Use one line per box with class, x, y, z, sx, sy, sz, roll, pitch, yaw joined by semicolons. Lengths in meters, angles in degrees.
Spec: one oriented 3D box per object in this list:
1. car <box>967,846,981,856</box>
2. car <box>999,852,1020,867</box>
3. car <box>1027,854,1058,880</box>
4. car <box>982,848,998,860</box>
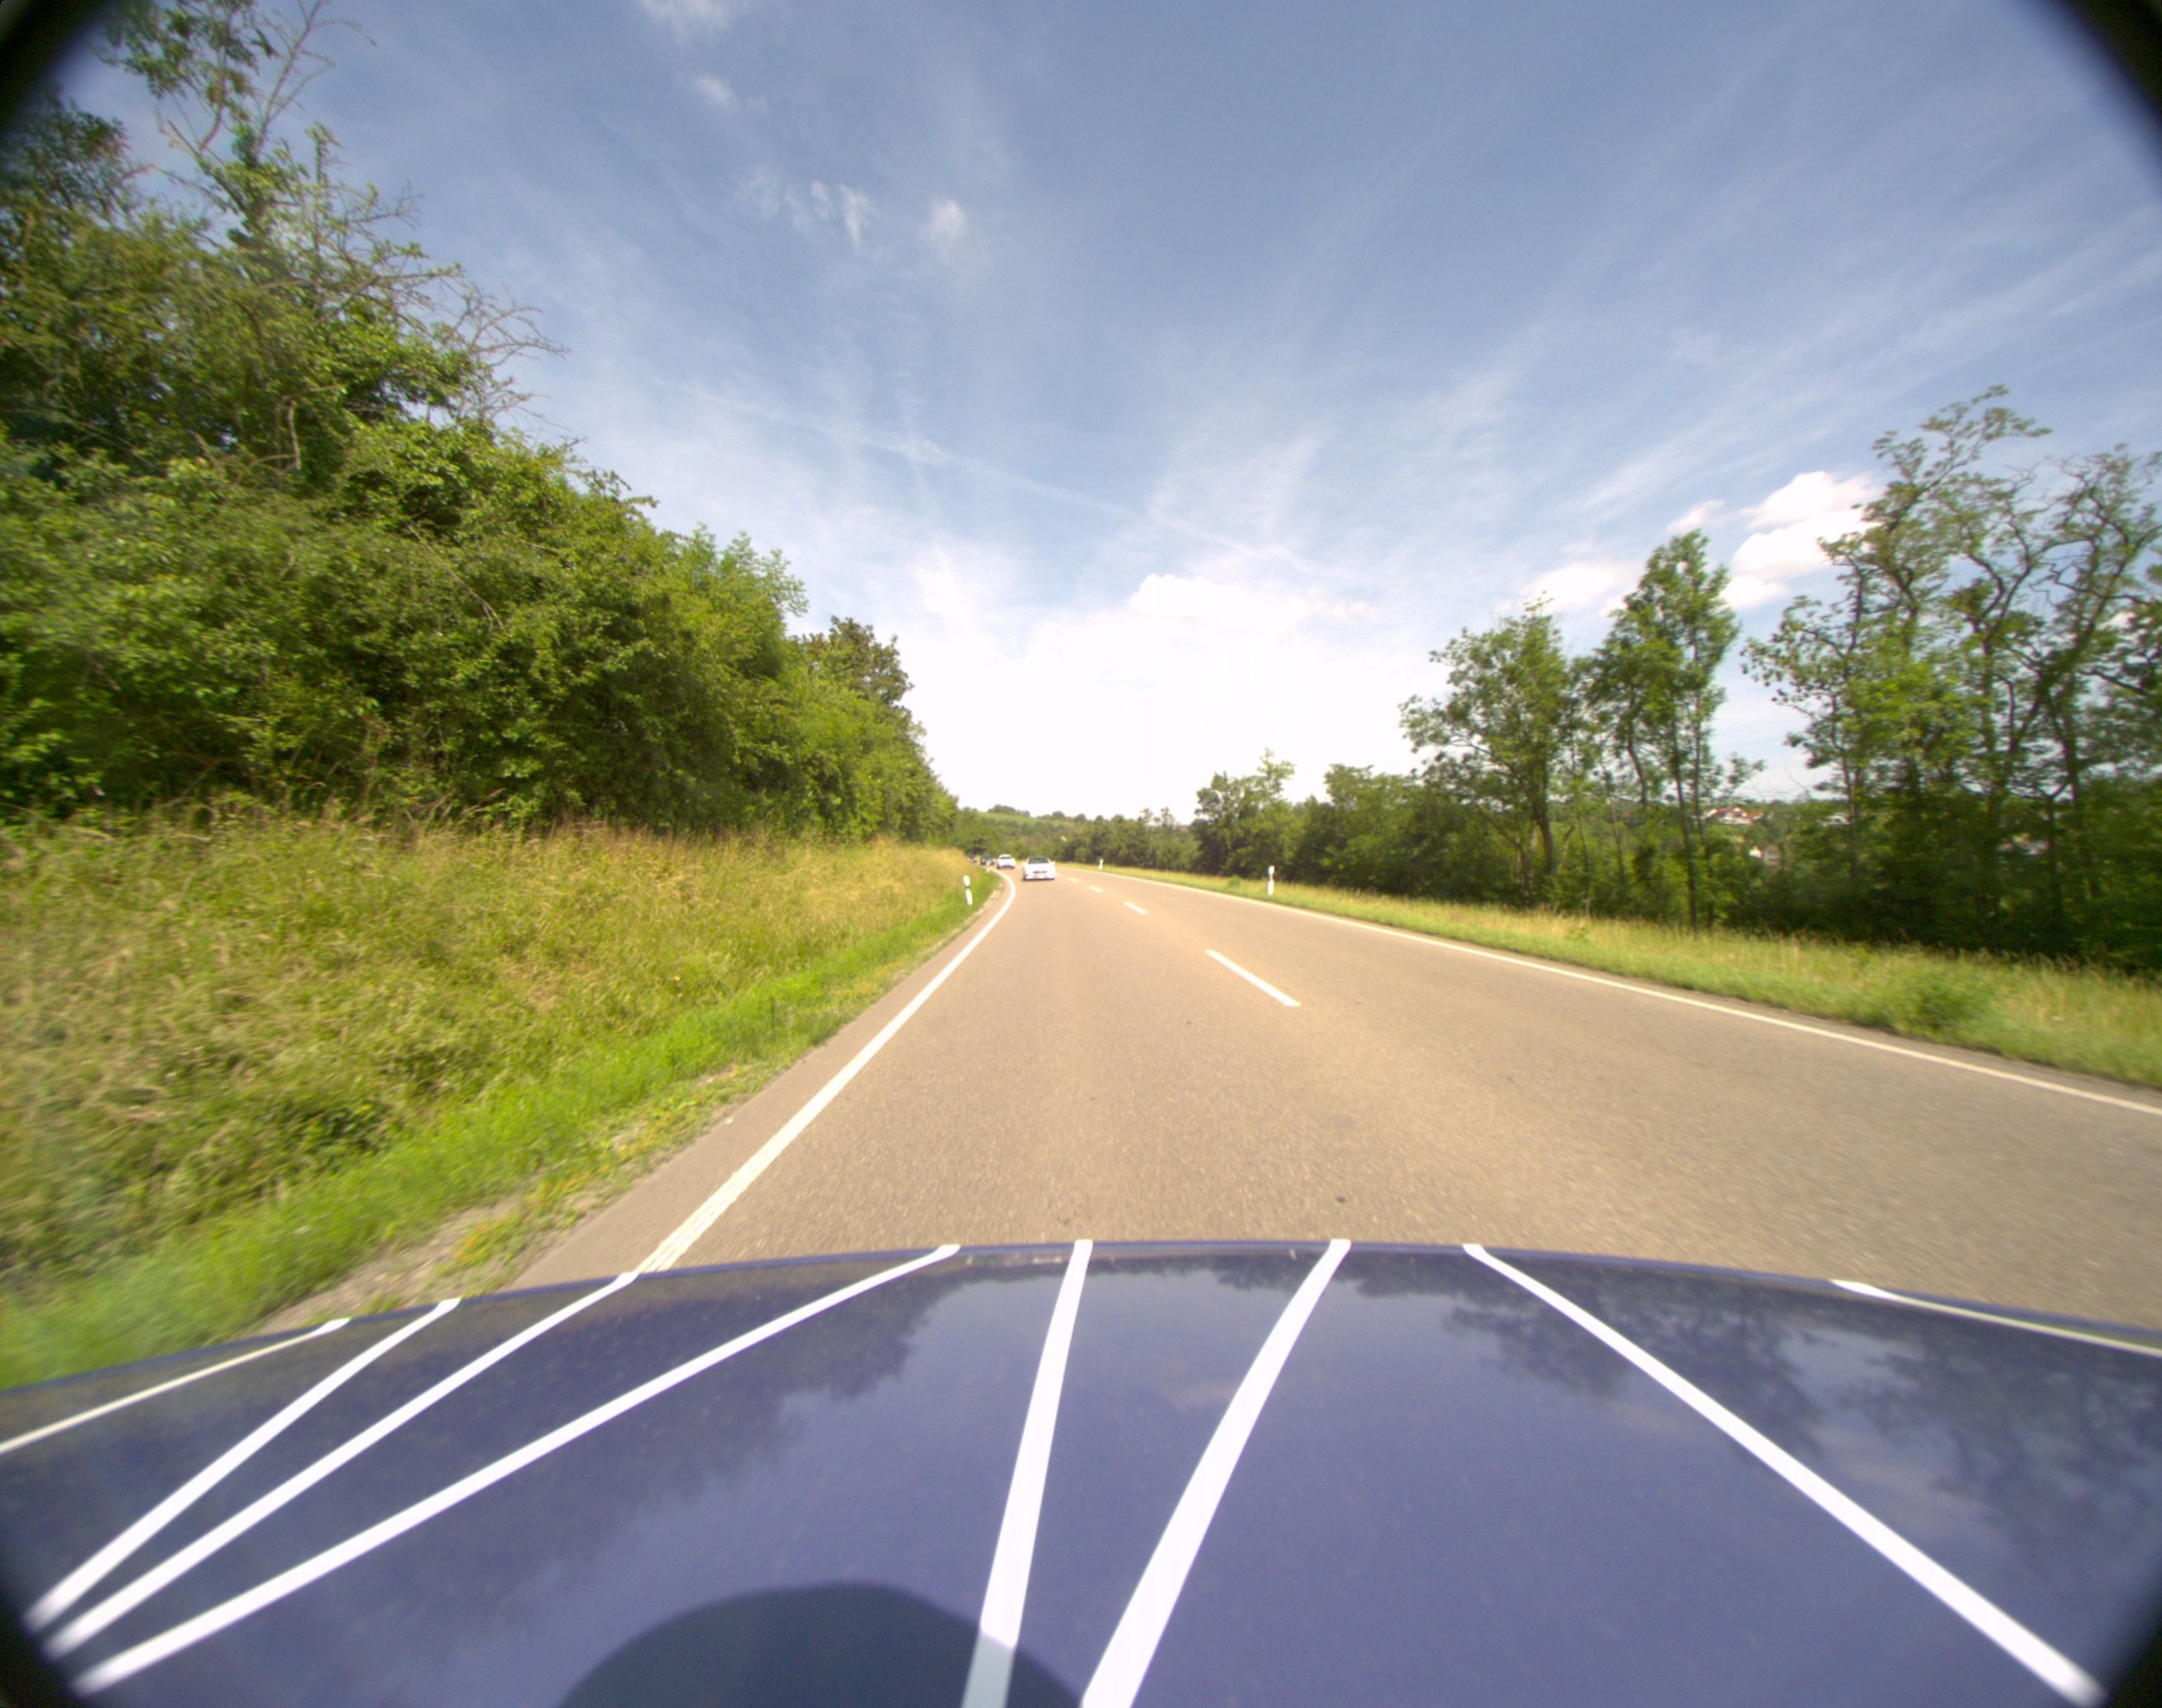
car;-18.451;-0.497;130.919;1.668;1.641;3.994;3;0;-15
car;-7.867;0.600;83.173;1.867;1.480;3.996;-3;1;-10
car;-2.403;0.778;47.039;1.773;1.437;3.998;-2;1;-4
car;-13.023;0.006;108.639;1.827;1.510;3.994;3;0;-14
